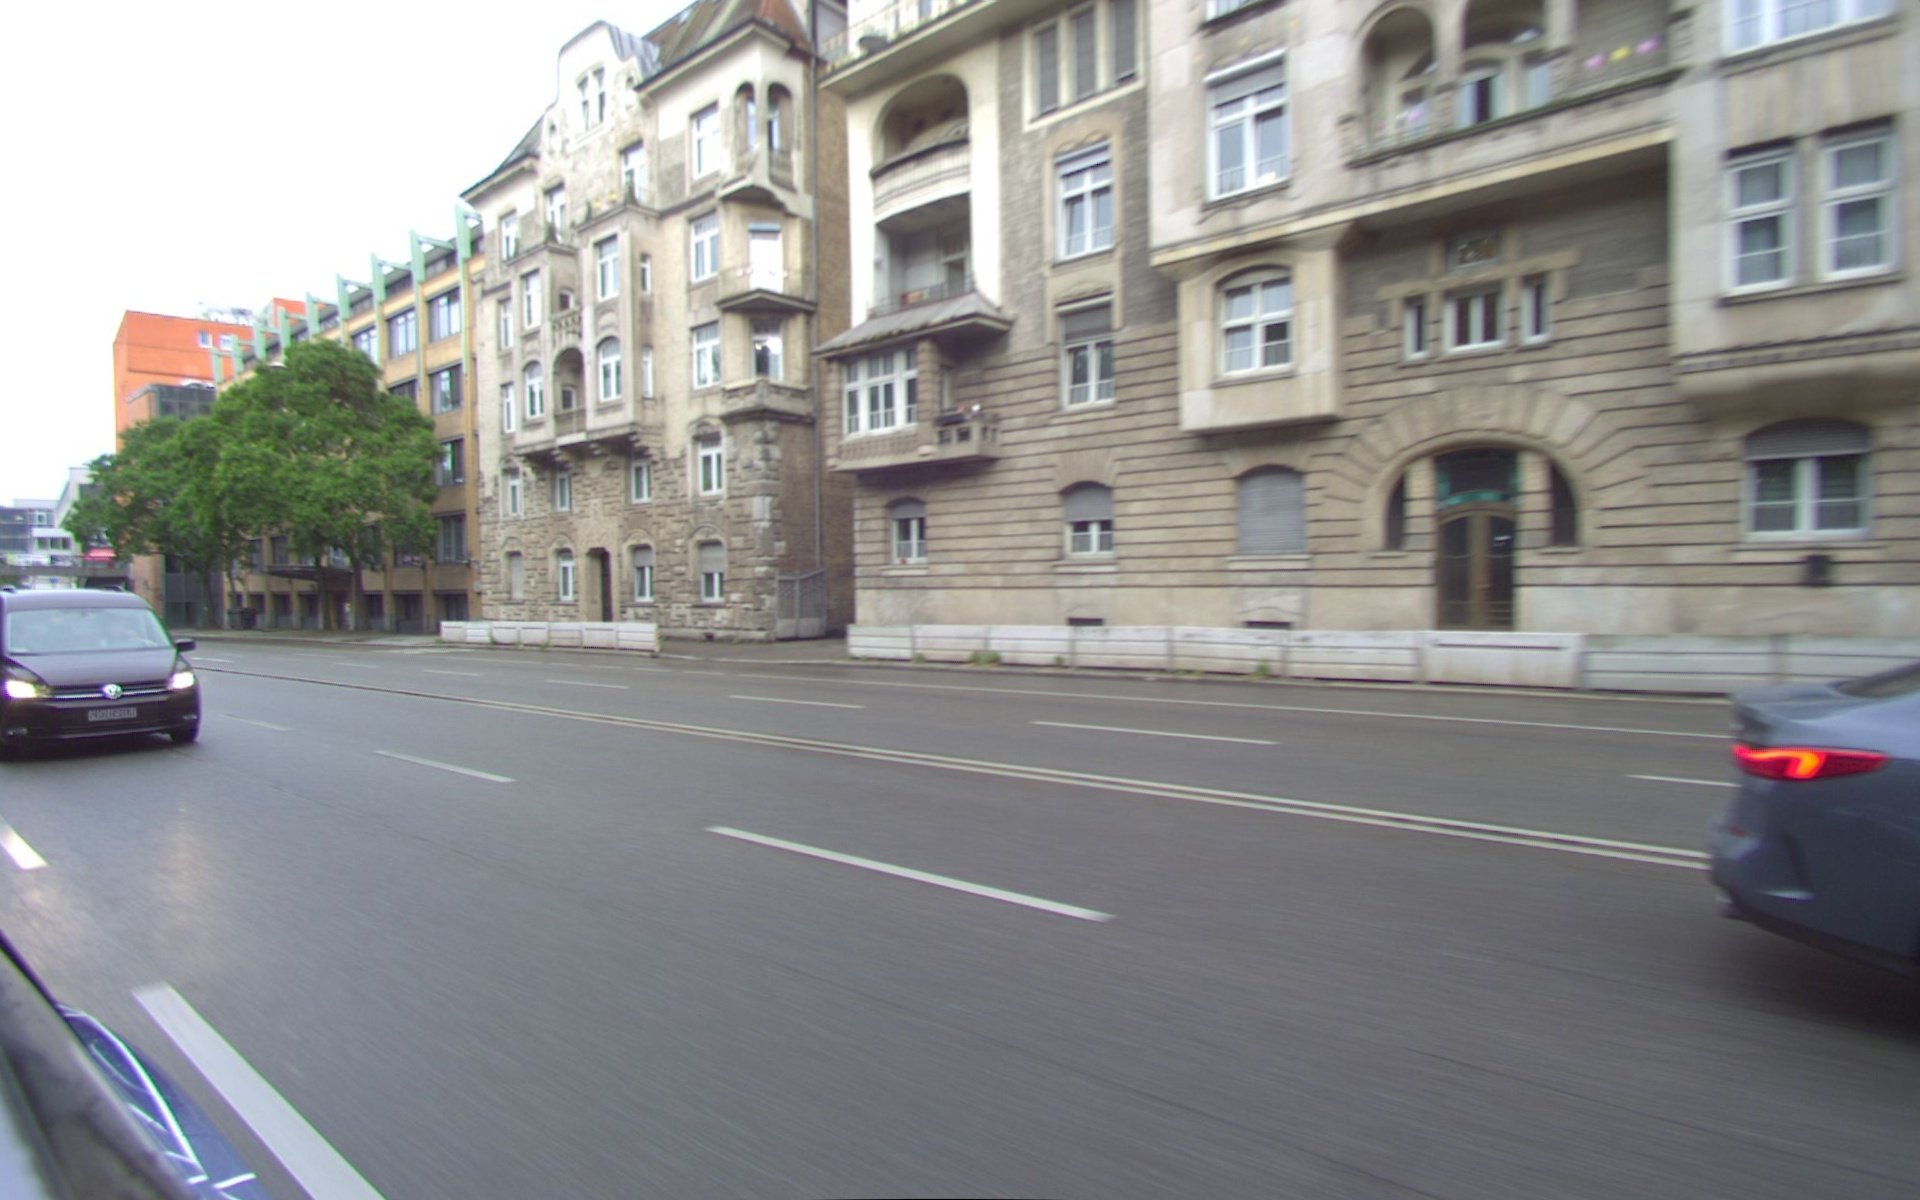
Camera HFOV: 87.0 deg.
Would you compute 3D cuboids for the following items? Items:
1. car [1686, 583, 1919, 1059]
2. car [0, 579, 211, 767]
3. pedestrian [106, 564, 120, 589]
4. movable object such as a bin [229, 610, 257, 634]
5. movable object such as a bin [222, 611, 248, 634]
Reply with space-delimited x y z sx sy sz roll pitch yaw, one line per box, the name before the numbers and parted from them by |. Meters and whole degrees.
car | 4.712 0.635 2.576 4.536 1.425 1.648 -1 0 40
car | -10.220 0.737 11.580 3.997 1.804 1.818 -2 -1 41
pedestrian | -76.887 -2.152 91.833 0.737 2.271 0.823 -1 0 34
movable object such as a bin | -46.625 1.430 65.801 1.369 1.446 1.059 -2 2 35
movable object such as a bin | -47.712 1.466 66.605 1.311 1.446 0.965 -2 2 35
